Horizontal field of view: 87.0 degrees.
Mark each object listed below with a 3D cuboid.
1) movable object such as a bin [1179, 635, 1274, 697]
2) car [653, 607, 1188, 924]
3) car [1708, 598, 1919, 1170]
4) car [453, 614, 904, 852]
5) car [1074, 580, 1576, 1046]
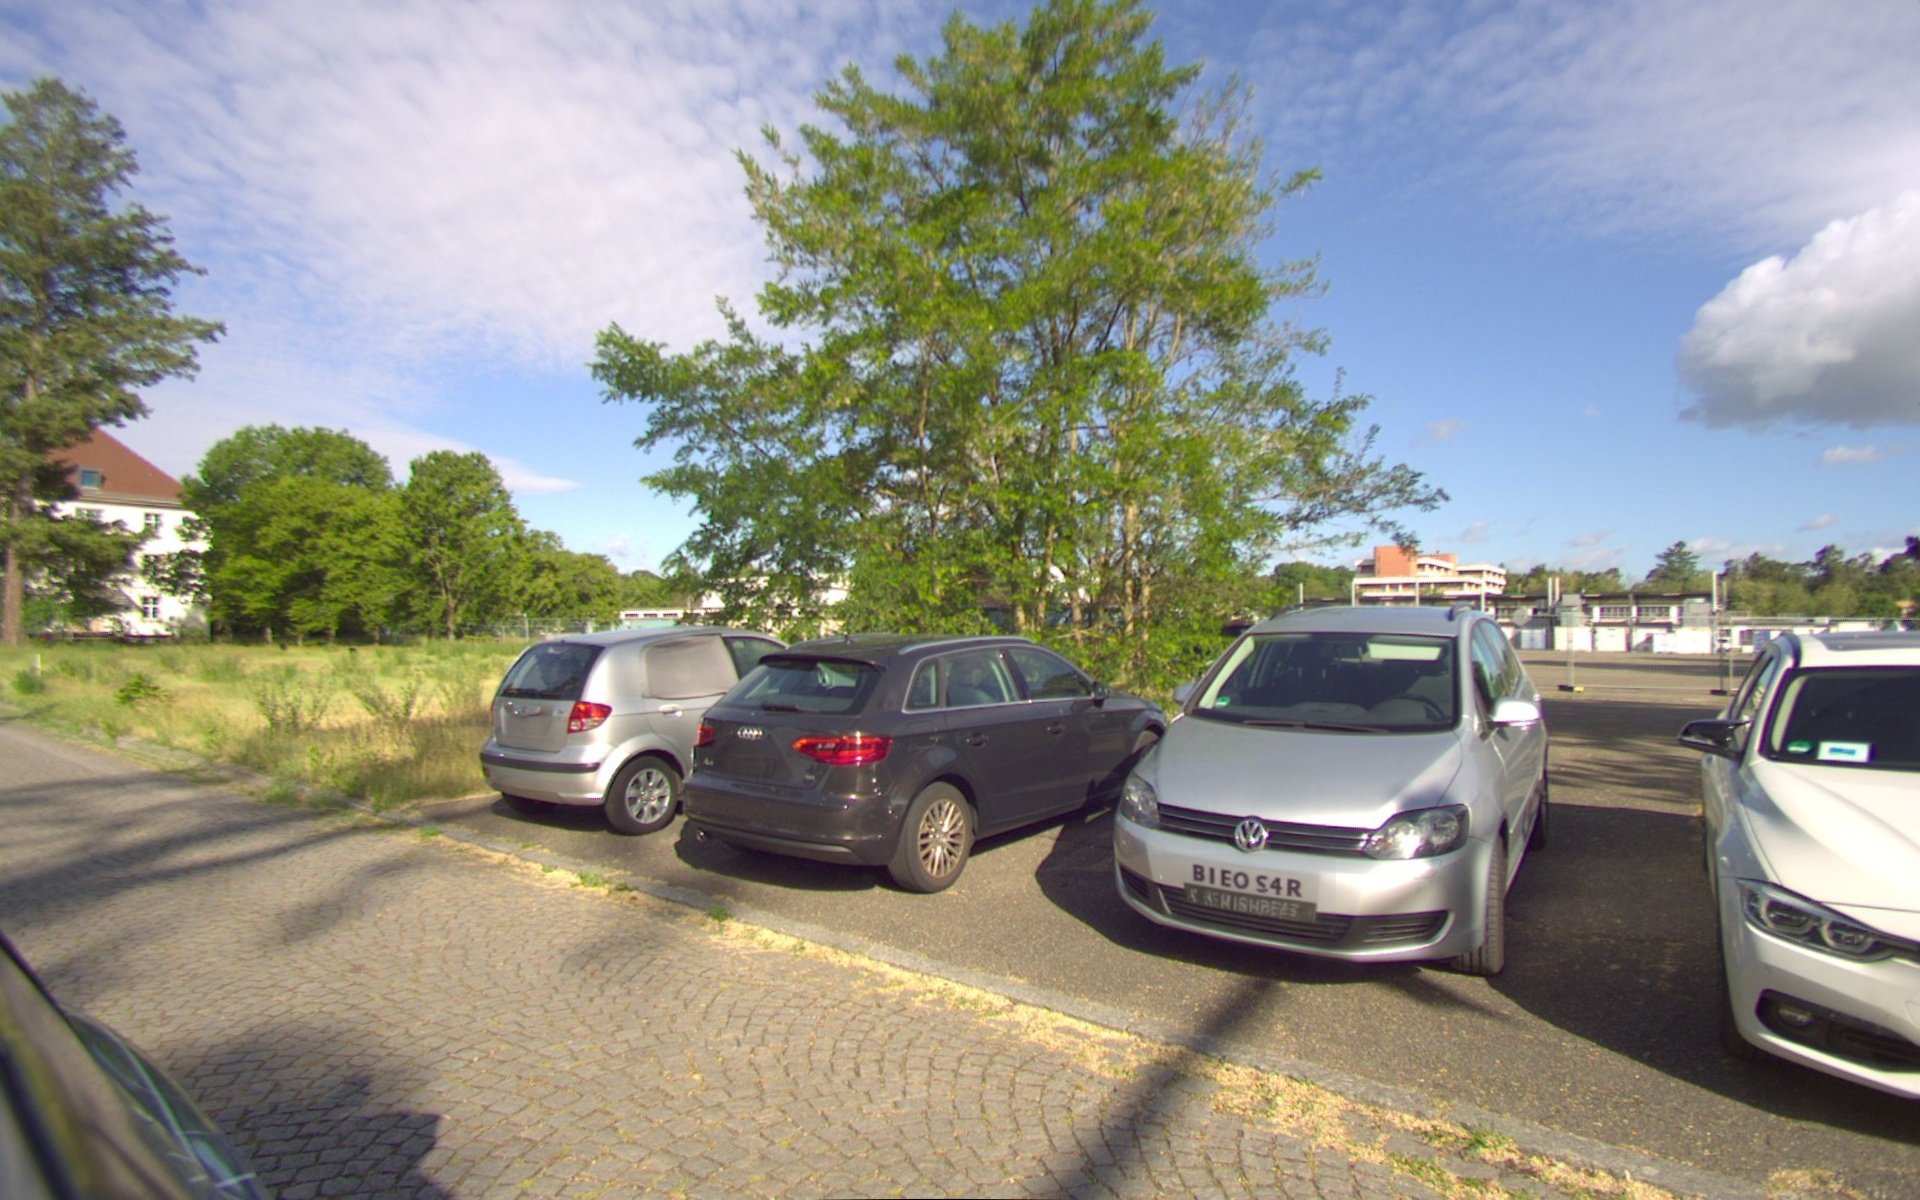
[{"bbox_3d":[5.180,1.234,19.573,0.996,1.116,2.257,-1,-2,37],"label":"movable object such as a bin"},{"bbox_3d":[-0.022,0.848,7.051,1.685,1.482,3.761,-1,0,38],"label":"car"},{"bbox_3d":[4.300,0.760,4.268,1.749,1.478,4.500,-2,0,36],"label":"car"},{"bbox_3d":[-2.204,0.921,8.642,1.633,1.482,3.434,-1,0,36],"label":"car"},{"bbox_3d":[2.327,0.733,5.676,1.717,1.638,3.911,-1,0,34],"label":"car"}]
